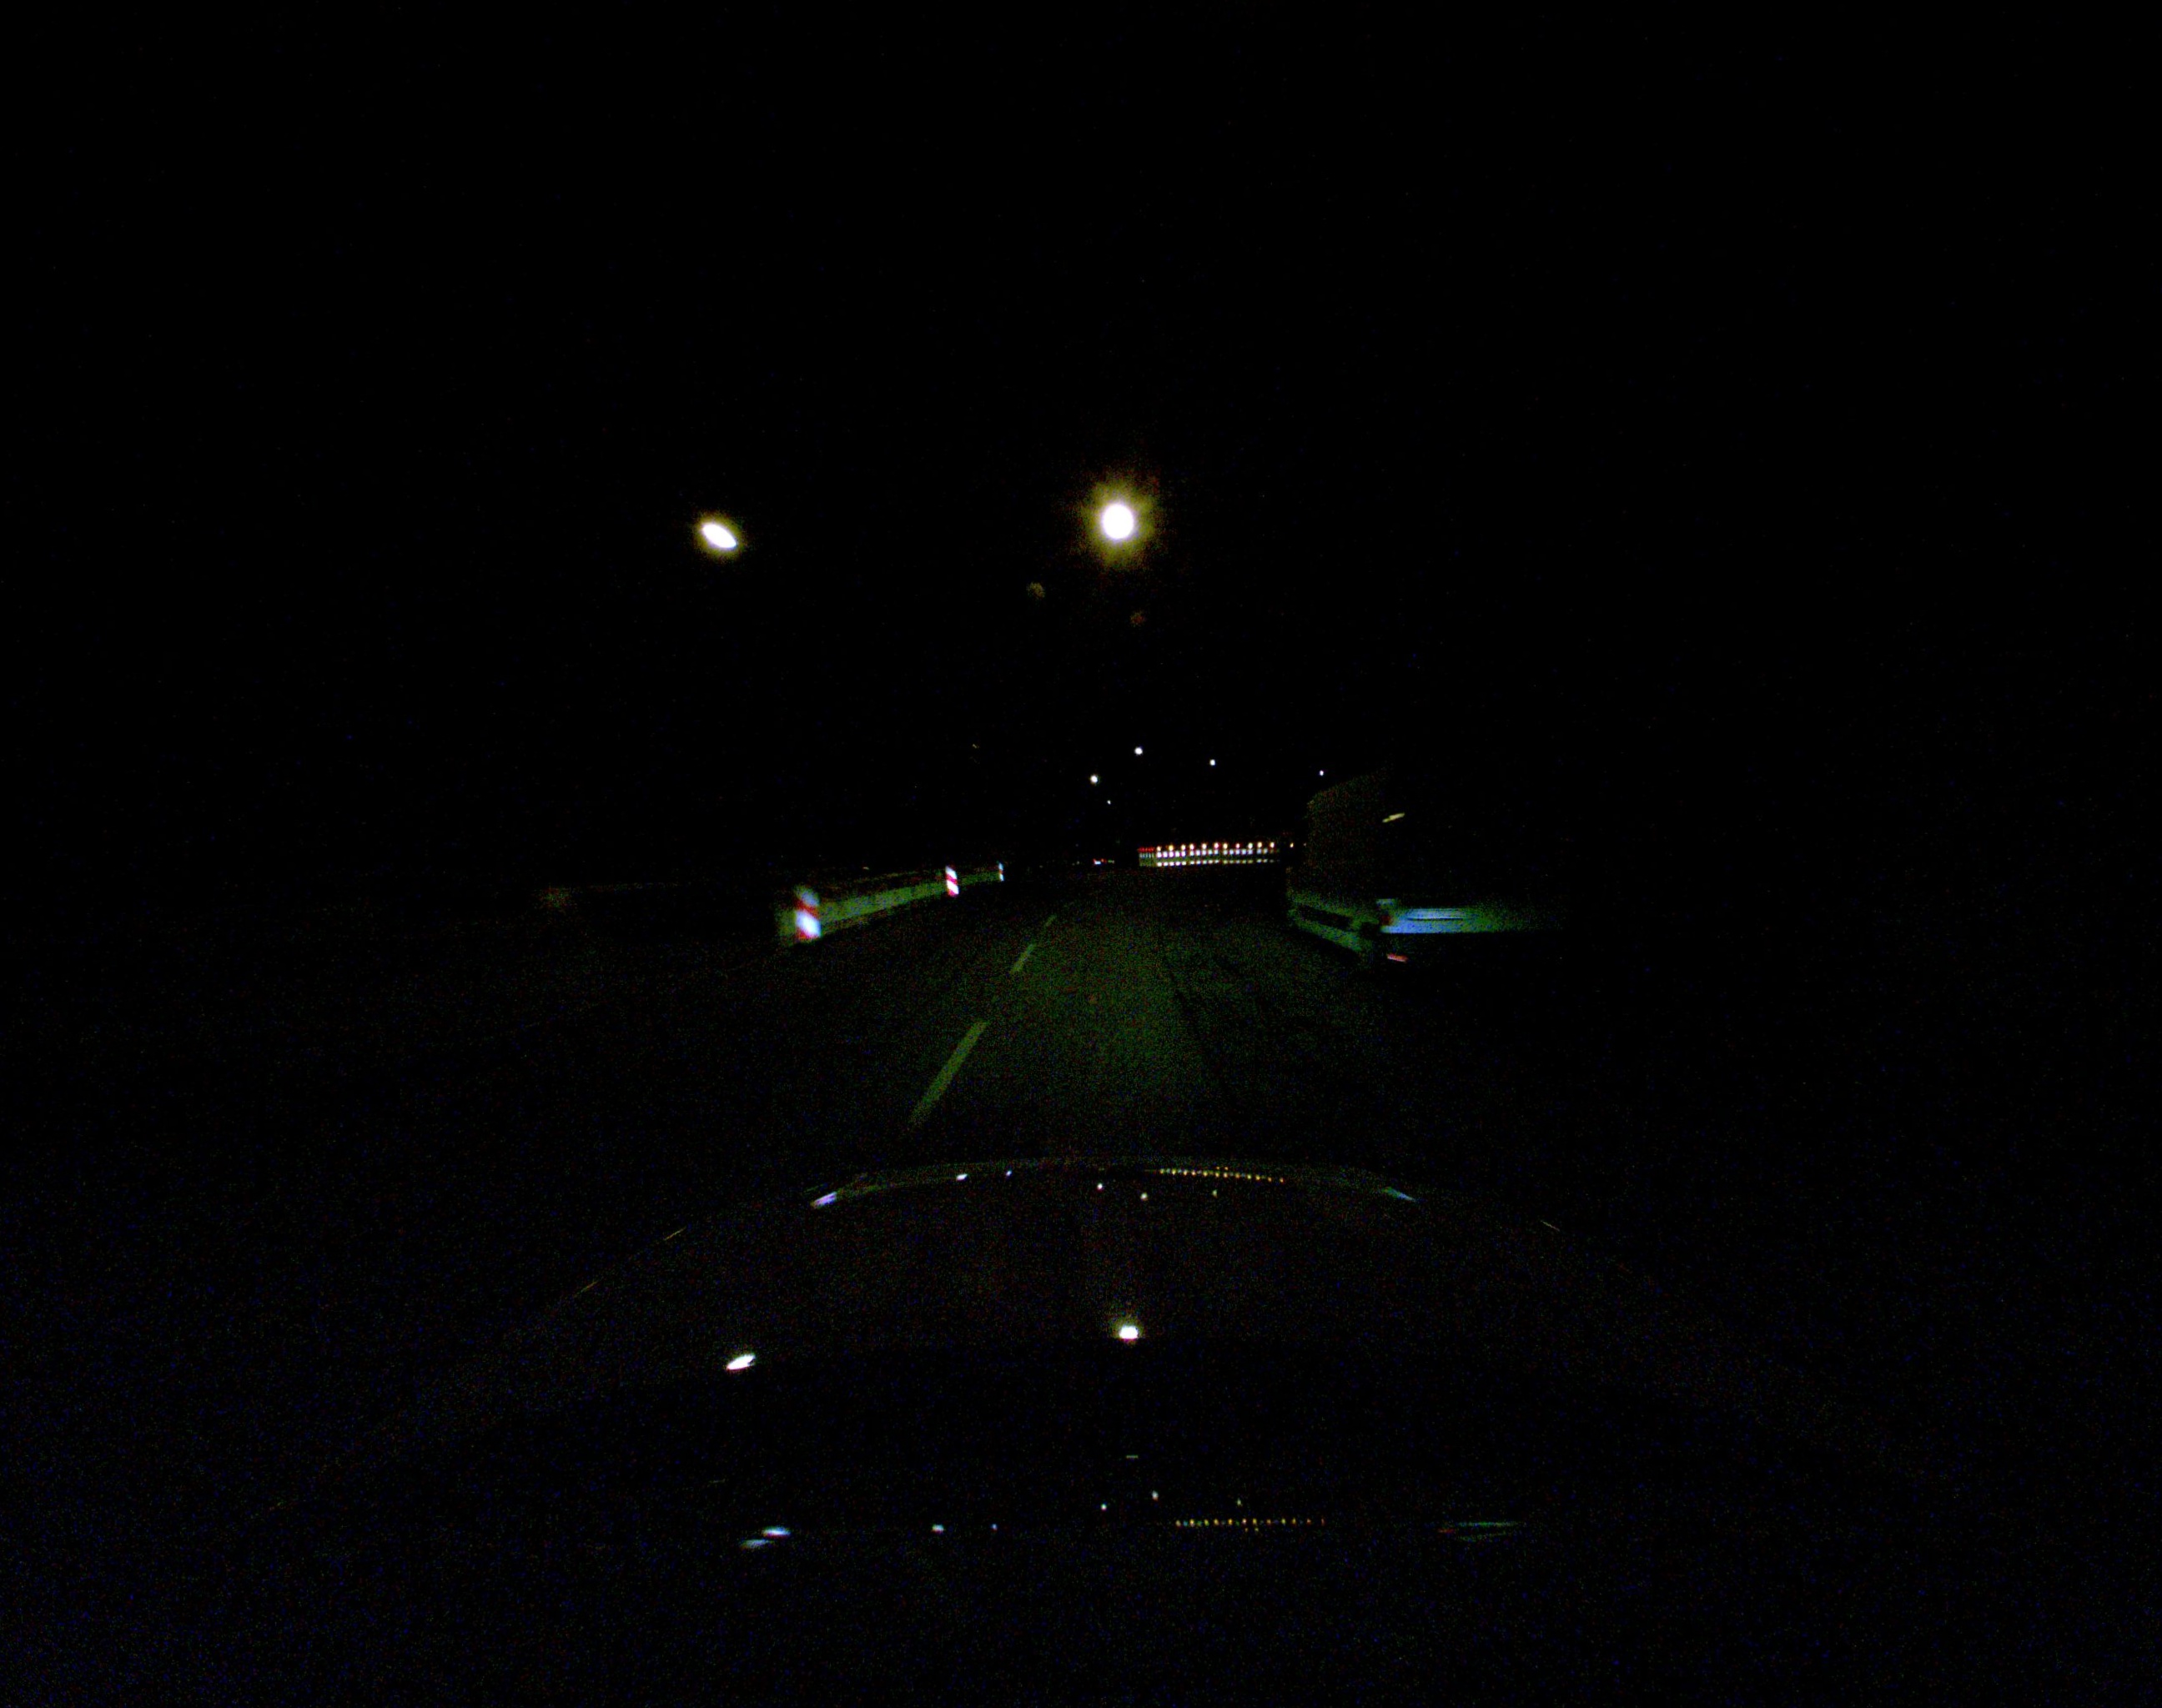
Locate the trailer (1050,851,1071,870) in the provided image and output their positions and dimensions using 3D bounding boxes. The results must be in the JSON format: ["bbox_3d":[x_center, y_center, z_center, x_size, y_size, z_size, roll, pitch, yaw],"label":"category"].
[{"bbox_3d":[-3.182,0.999,127.660,1.979,2.813,4.722,-2,0,15],"label":"trailer"}]

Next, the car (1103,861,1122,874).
[{"bbox_3d":[4.492,1.920,114.413,1.707,1.821,4.017,-1,-1,16],"label":"car"}]

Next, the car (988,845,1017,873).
[{"bbox_3d":[-8.698,0.578,91.137,2.511,2.927,7.198,-3,0,-1],"label":"car"}]

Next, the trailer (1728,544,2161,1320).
[{"bbox_3d":[4.239,0.249,1.828,1.626,2.473,5.028,-1,0,1],"label":"trailer"}]

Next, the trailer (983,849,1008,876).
[{"bbox_3d":[-8.748,0.870,83.822,1.987,2.527,3.568,-4,0,1],"label":"trailer"}]

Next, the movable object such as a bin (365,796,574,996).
[{"bbox_3d":[-8.623,0.535,11.752,1.554,2.467,2.820,-3,-1,-20],"label":"movable object such as a bin"}]

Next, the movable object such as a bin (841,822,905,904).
[{"bbox_3d":[-7.656,0.300,30.273,1.569,2.733,3.693,-4,1,-6],"label":"movable object such as a bin"}]

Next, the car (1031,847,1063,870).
[{"bbox_3d":[-4.984,0.614,121.128,2.501,3.171,7.165,-4,-1,14],"label":"car"}]

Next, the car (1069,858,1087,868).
[{"bbox_3d":[-0.508,1.514,138.685,1.978,1.699,4.223,-2,-1,16],"label":"car"}]

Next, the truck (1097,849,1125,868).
[{"bbox_3d":[5.857,0.755,156.403,1.975,3.404,9.031,-1,0,24],"label":"truck"}]

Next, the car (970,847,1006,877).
[{"bbox_3d":[-8.842,0.781,78.025,2.511,2.606,7.088,-3,0,-1],"label":"car"}]

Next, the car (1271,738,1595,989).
[{"bbox_3d":[4.308,0.070,11.443,2.100,2.516,6.377,-1,0,3],"label":"car"}]

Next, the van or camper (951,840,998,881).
[{"bbox_3d":[-8.811,0.516,67.931,2.509,3.094,7.448,-4,0,2],"label":"van or camper"}]

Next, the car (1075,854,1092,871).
[{"bbox_3d":[0.258,0.917,85.654,1.714,1.661,4.001,-1,-1,1],"label":"car"}]

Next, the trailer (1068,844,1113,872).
[{"bbox_3d":[0.785,0.385,71.097,1.568,2.160,5.175,-3,-1,-27],"label":"trailer"}]
